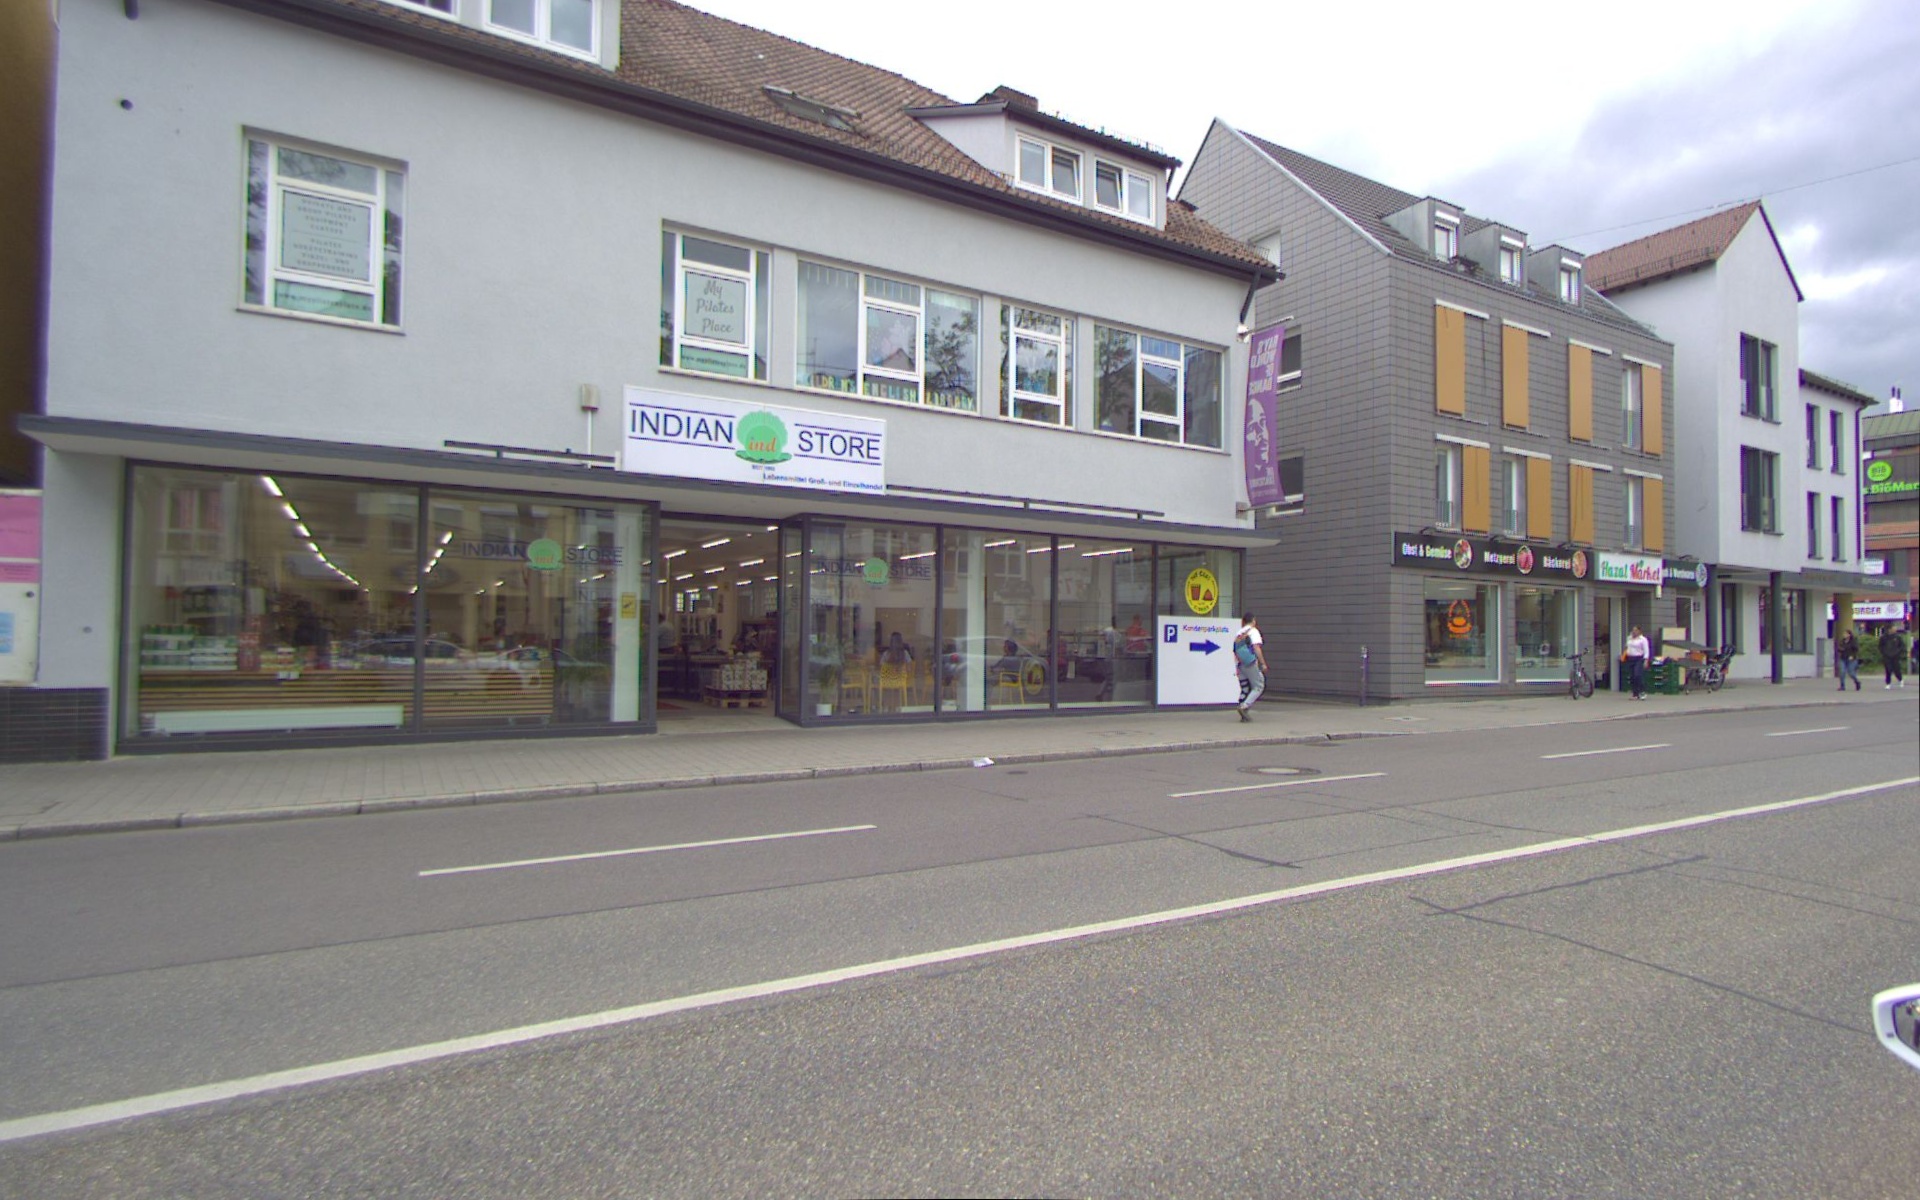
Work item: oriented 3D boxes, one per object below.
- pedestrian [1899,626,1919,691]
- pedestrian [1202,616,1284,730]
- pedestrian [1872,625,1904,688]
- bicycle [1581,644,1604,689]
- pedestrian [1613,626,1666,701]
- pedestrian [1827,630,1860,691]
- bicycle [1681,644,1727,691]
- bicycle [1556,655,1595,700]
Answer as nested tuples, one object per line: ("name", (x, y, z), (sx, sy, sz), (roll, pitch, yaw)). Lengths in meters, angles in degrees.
("pedestrian", (26.792, 1.630, 28.101), (0.643, 1.814, 0.676), (1, -2, -39))
("pedestrian", (4.520, 1.141, 16.071), (0.969, 1.728, 0.750), (1, 1, -30))
("pedestrian", (26.972, 1.636, 29.194), (0.640, 1.799, 0.565), (1, -2, -35))
("bicycle", (16.718, 1.752, 26.544), (0.381, 1.142, 1.285), (-1, -2, 37))
("pedestrian", (15.178, 1.404, 22.453), (0.744, 1.631, 0.725), (1, -2, -30))
("pedestrian", (24.814, 1.690, 28.209), (0.555, 1.672, 0.645), (2, -2, -44))
("bicycle", (19.651, 1.761, 26.519), (1.806, 1.201, 0.384), (1, -2, -33))
("bicycle", (13.972, 1.747, 22.791), (1.472, 0.966, 0.323), (2, -2, -41))
